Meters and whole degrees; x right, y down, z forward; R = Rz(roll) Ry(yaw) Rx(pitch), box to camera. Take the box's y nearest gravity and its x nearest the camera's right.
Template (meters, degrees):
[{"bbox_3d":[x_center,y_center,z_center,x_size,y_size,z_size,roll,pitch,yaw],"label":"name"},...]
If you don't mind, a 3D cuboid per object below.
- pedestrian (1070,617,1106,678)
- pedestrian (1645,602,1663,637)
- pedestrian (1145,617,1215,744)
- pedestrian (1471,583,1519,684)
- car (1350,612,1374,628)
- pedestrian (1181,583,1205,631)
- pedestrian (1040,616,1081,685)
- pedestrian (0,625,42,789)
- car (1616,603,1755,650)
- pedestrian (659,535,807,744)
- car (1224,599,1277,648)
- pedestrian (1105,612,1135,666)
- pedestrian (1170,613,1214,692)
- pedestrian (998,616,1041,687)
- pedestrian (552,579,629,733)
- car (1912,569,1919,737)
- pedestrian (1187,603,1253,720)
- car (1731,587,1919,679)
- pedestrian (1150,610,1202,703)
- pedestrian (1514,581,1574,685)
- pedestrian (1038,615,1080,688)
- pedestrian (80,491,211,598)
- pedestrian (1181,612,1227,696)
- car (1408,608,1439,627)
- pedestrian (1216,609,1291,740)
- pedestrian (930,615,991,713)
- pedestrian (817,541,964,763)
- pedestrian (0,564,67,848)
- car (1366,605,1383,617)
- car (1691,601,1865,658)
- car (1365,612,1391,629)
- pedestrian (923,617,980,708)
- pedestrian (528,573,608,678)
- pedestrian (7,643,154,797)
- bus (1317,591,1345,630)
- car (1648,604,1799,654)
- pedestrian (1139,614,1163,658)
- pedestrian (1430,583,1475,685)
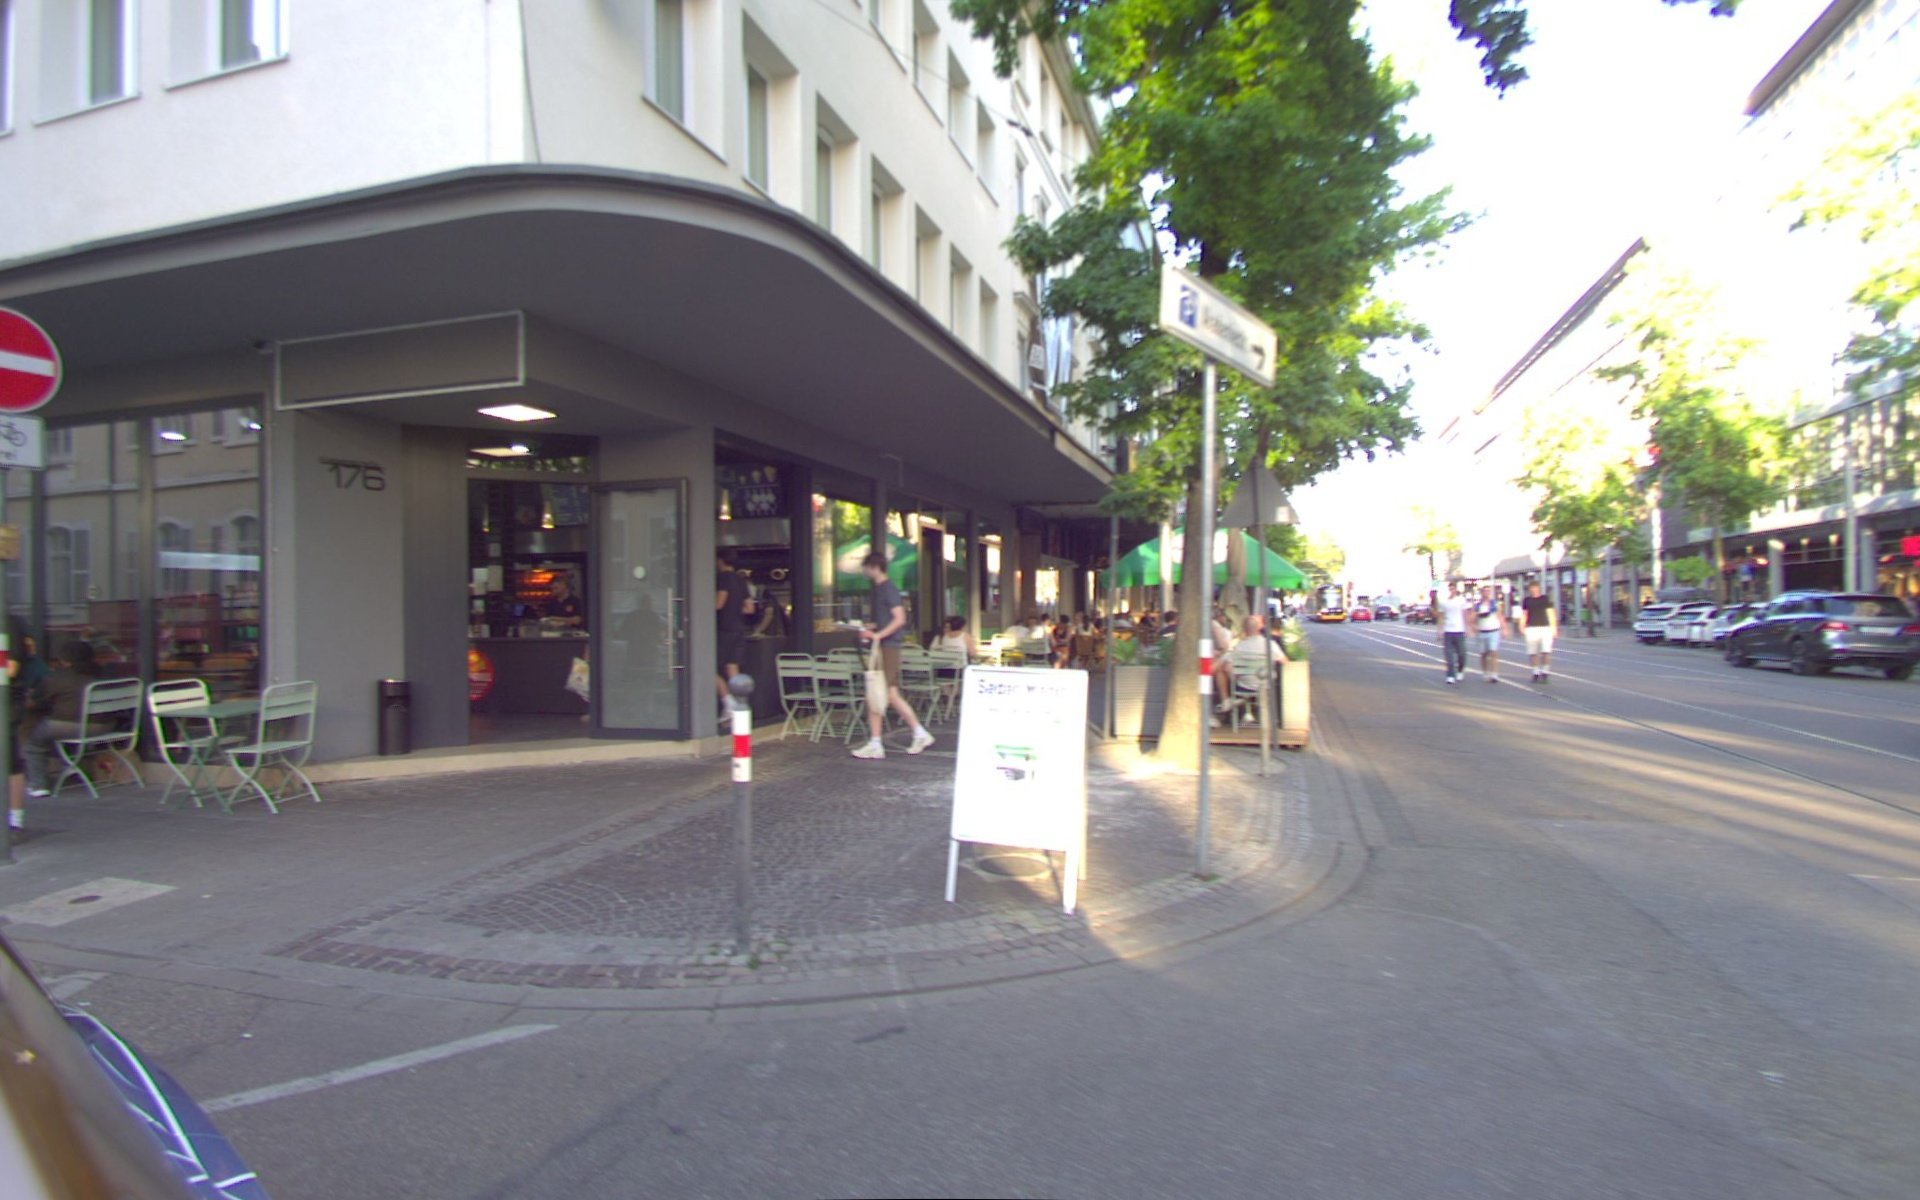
[{"bbox_3d":[2.748,1.006,21.670,0.647,1.269,0.671,-2,0,14],"label":"pedestrian"},{"bbox_3d":[37.650,1.047,54.925,0.591,1.854,0.610,-1,-1,16],"label":"pedestrian"},{"bbox_3d":[2.457,0.881,11.276,0.707,1.338,0.728,-2,0,15],"label":"pedestrian"},{"bbox_3d":[10.413,0.654,19.744,0.709,1.916,1.060,-2,-2,24],"label":"pedestrian"},{"bbox_3d":[38.650,1.908,97.355,1.658,1.554,3.485,-1,-1,14],"label":"car"},{"bbox_3d":[7.868,0.241,34.227,0.704,1.619,0.875,-1,-1,17],"label":"pedestrian"},{"bbox_3d":[1.934,0.961,19.423,0.647,1.269,0.671,-2,0,14],"label":"pedestrian"},{"bbox_3d":[-7.955,0.857,8.047,0.708,1.285,0.700,-2,0,18],"label":"pedestrian"},{"bbox_3d":[27.578,1.018,38.532,3.934,1.517,1.954,-3,-3,-9],"label":"car"},{"bbox_3d":[-2.216,0.388,9.976,1.060,1.916,1.024,-1,-2,17],"label":"pedestrian"},{"bbox_3d":[12.215,1.016,42.557,1.982,1.929,3.978,-1,-2,16],"label":"car"},{"bbox_3d":[3.918,0.949,24.788,0.647,1.269,0.671,-2,0,14],"label":"pedestrian"},{"bbox_3d":[4.188,0.944,18.280,0.724,1.368,0.710,-2,0,14],"label":"pedestrian"},{"bbox_3d":[1.098,0.939,18.619,0.647,1.269,0.671,-2,0,14],"label":"pedestrian"},{"bbox_3d":[-3.941,0.585,10.789,0.740,1.584,0.604,0,-2,-22],"label":"pedestrian"},{"bbox_3d":[10.264,0.514,7.926,2.004,1.739,4.920,-1,-1,16],"label":"car"},{"bbox_3d":[3.161,0.734,12.336,0.724,1.368,0.710,-2,0,14],"label":"pedestrian"},{"bbox_3d":[18.597,0.664,21.631,1.852,1.750,4.263,1,-1,15],"label":"car"},{"bbox_3d":[3.310,0.849,15.505,0.724,1.368,0.710,-2,0,14],"label":"pedestrian"},{"bbox_3d":[11.090,0.629,19.257,0.822,1.916,1.060,-2,-2,25],"label":"pedestrian"},{"bbox_3d":[1.804,0.924,18.372,0.647,1.269,0.671,-2,0,14],"label":"pedestrian"},{"bbox_3d":[-18.476,-1.151,23.136,1.966,2.029,4.010,1,-3,-34],"label":"pedestrian"},{"bbox_3d":[4.139,0.903,17.170,0.724,1.368,0.710,-2,0,14],"label":"pedestrian"},{"bbox_3d":[38.530,1.457,84.162,1.658,1.554,3.485,-1,-1,14],"label":"car"},{"bbox_3d":[3.204,0.796,11.095,0.724,1.368,0.710,-2,0,14],"label":"pedestrian"},{"bbox_3d":[0.013,0.857,13.745,0.647,1.269,0.671,-2,0,14],"label":"pedestrian"},{"bbox_3d":[-0.629,0.474,9.405,1.060,1.916,1.024,-1,-2,17],"label":"pedestrian"},{"bbox_3d":[-6.049,0.631,6.203,0.677,1.680,0.507,-1,0,-6],"label":"pedestrian"},{"bbox_3d":[53.064,1.409,129.493,1.659,1.554,3.481,-1,-1,17],"label":"car"},{"bbox_3d":[25.507,0.928,31.627,3.934,1.517,1.954,-3,-3,-9],"label":"car"},{"bbox_3d":[43.378,2.120,105.131,1.912,1.653,3.705,-1,-2,14],"label":"car"},{"bbox_3d":[-0.118,0.893,14.673,0.647,1.269,0.671,-2,0,14],"label":"pedestrian"},{"bbox_3d":[-4.937,0.314,12.764,0.647,1.269,0.671,-2,0,14],"label":"pedestrian"},{"bbox_3d":[-6.869,0.913,7.917,0.708,1.122,0.571,-2,0,18],"label":"pedestrian"},{"bbox_3d":[34.512,0.983,94.283,1.983,3.444,8.523,-1,-1,18],"label":"bus"},{"bbox_3d":[26.997,1.053,35.845,3.934,1.517,1.954,-3,-3,-9],"label":"car"},{"bbox_3d":[5.712,1.059,30.225,0.647,1.269,0.671,-2,0,14],"label":"pedestrian"},{"bbox_3d":[9.586,0.662,19.726,0.709,1.916,1.060,-2,-2,24],"label":"pedestrian"}]
